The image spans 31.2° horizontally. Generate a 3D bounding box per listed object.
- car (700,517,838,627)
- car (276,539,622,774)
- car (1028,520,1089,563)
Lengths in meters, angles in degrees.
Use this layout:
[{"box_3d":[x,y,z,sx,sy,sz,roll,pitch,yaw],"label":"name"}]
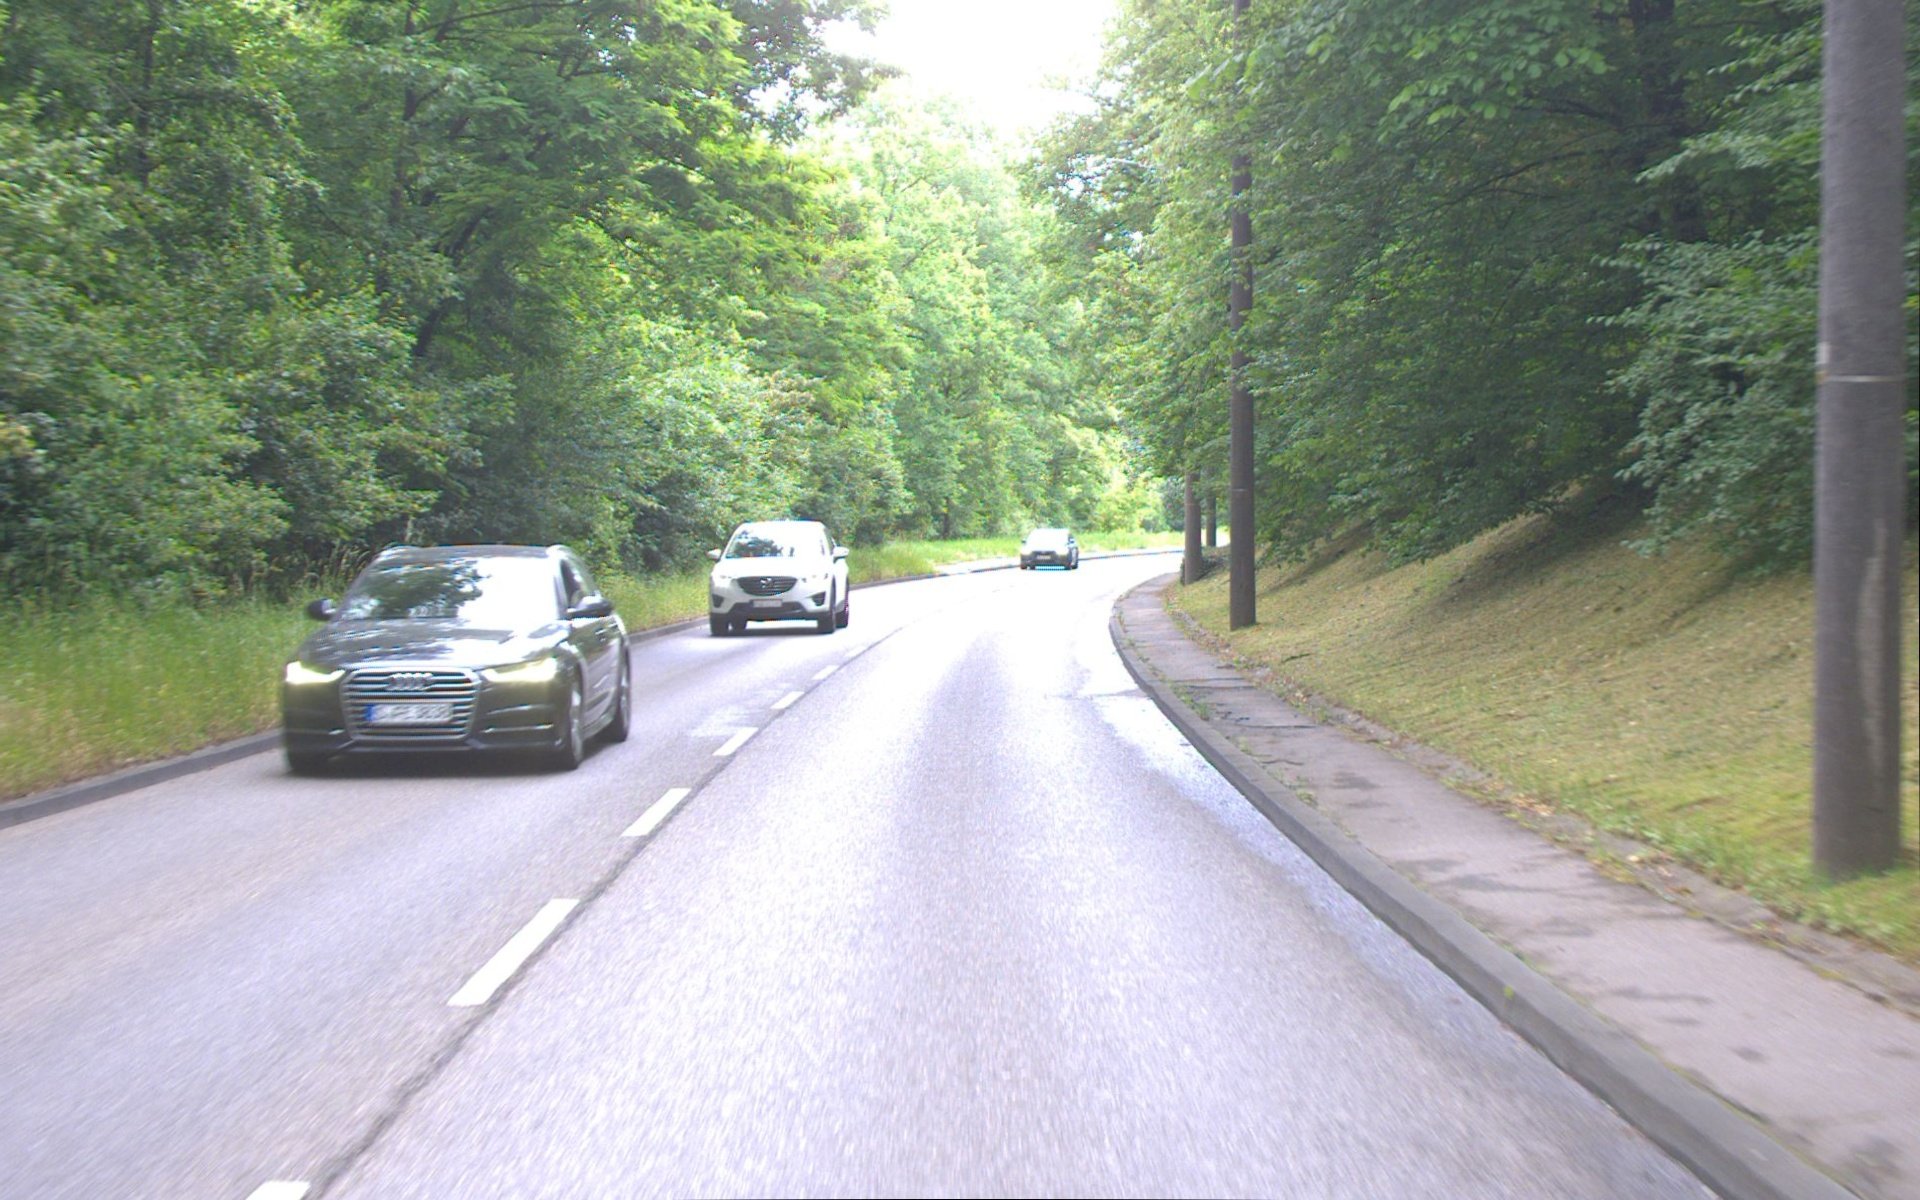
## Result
[{"box_3d":[-2.846,-0.453,51.954,1.942,1.575,4.441,0,1,-1],"label":"car"},{"box_3d":[-3.324,0.308,23.052,1.810,1.415,4.000,0,1,-1],"label":"car"},{"box_3d":[3.530,-2.132,124.195,1.993,1.537,4.000,0,1,-1],"label":"car"}]
